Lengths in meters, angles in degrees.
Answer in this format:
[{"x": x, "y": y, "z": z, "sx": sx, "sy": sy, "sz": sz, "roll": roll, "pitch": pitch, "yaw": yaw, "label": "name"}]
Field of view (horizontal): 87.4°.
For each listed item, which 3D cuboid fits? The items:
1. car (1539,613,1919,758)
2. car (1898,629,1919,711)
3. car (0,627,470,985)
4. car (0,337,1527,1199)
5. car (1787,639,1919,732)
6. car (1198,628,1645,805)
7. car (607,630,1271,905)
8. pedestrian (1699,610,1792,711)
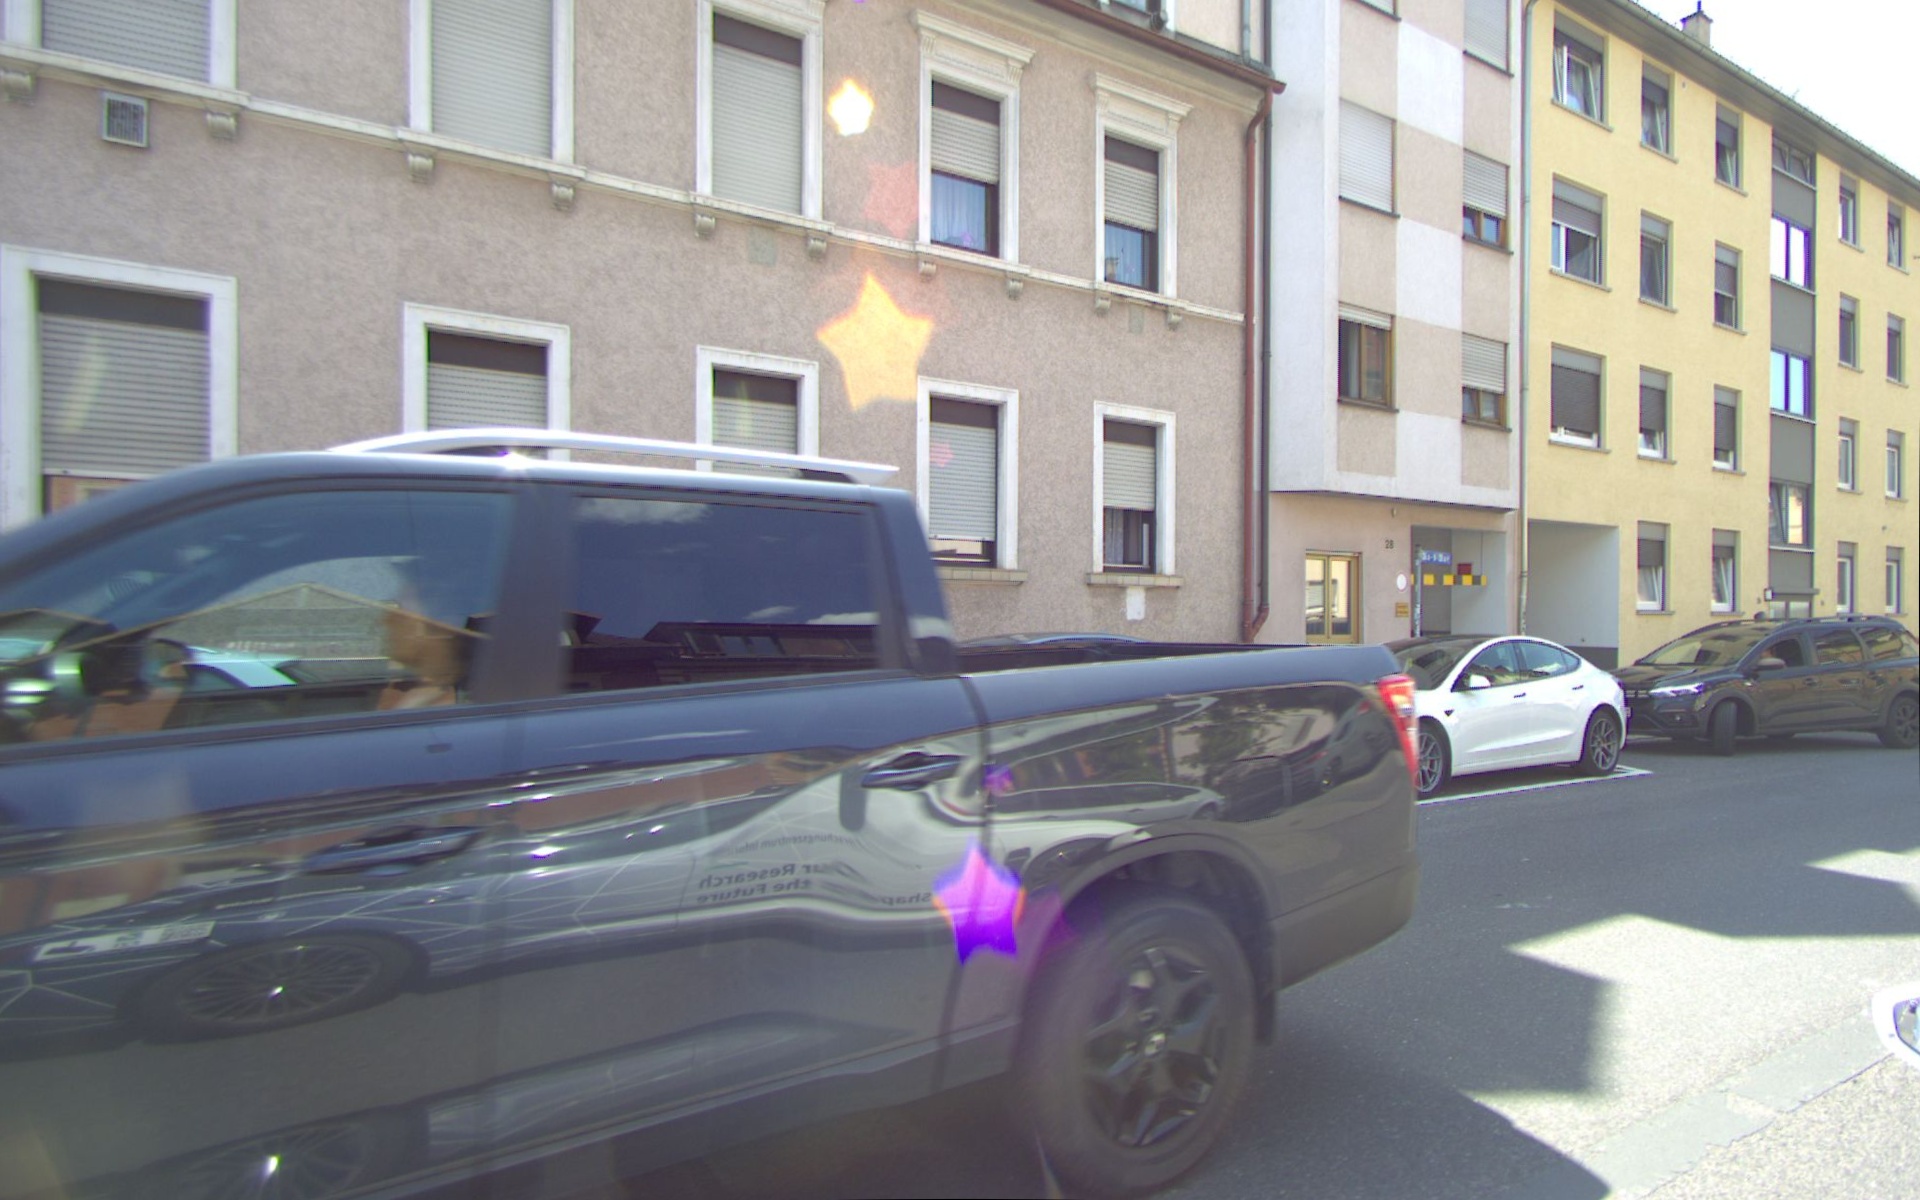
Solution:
[{"x": 10.254, "y": 1.051, "z": 13.191, "sx": 4.480, "sy": 1.659, "sz": 1.906, "roll": 0, "pitch": -3, "yaw": -14, "label": "car"}, {"x": 20.168, "y": 1.303, "z": 19.380, "sx": 4.253, "sy": 1.530, "sz": 1.896, "roll": 1, "pitch": -3, "yaw": -31, "label": "car"}, {"x": -4.808, "y": 0.874, "z": 4.568, "sx": 4.455, "sy": 1.441, "sz": 1.829, "roll": 1, "pitch": -4, "yaw": -34, "label": "car"}, {"x": -0.890, "y": 0.596, "z": 2.746, "sx": 5.088, "sy": 1.816, "sz": 1.984, "roll": 1, "pitch": -2, "yaw": -31, "label": "car"}, {"x": 15.844, "y": 1.351, "z": 16.745, "sx": 4.014, "sy": 1.397, "sz": 1.896, "roll": 1, "pitch": -3, "yaw": -31, "label": "car"}, {"x": 4.729, "y": 1.055, "z": 10.147, "sx": 4.504, "sy": 1.441, "sz": 1.832, "roll": 1, "pitch": -5, "yaw": -30, "label": "car"}, {"x": 0.010, "y": 0.977, "z": 7.334, "sx": 4.597, "sy": 1.441, "sz": 1.829, "roll": 1, "pitch": -4, "yaw": -34, "label": "car"}, {"x": 14.255, "y": 1.074, "z": 18.242, "sx": 1.141, "sy": 1.773, "sz": 0.962, "roll": 1, "pitch": -1, "yaw": -30, "label": "pedestrian"}]
